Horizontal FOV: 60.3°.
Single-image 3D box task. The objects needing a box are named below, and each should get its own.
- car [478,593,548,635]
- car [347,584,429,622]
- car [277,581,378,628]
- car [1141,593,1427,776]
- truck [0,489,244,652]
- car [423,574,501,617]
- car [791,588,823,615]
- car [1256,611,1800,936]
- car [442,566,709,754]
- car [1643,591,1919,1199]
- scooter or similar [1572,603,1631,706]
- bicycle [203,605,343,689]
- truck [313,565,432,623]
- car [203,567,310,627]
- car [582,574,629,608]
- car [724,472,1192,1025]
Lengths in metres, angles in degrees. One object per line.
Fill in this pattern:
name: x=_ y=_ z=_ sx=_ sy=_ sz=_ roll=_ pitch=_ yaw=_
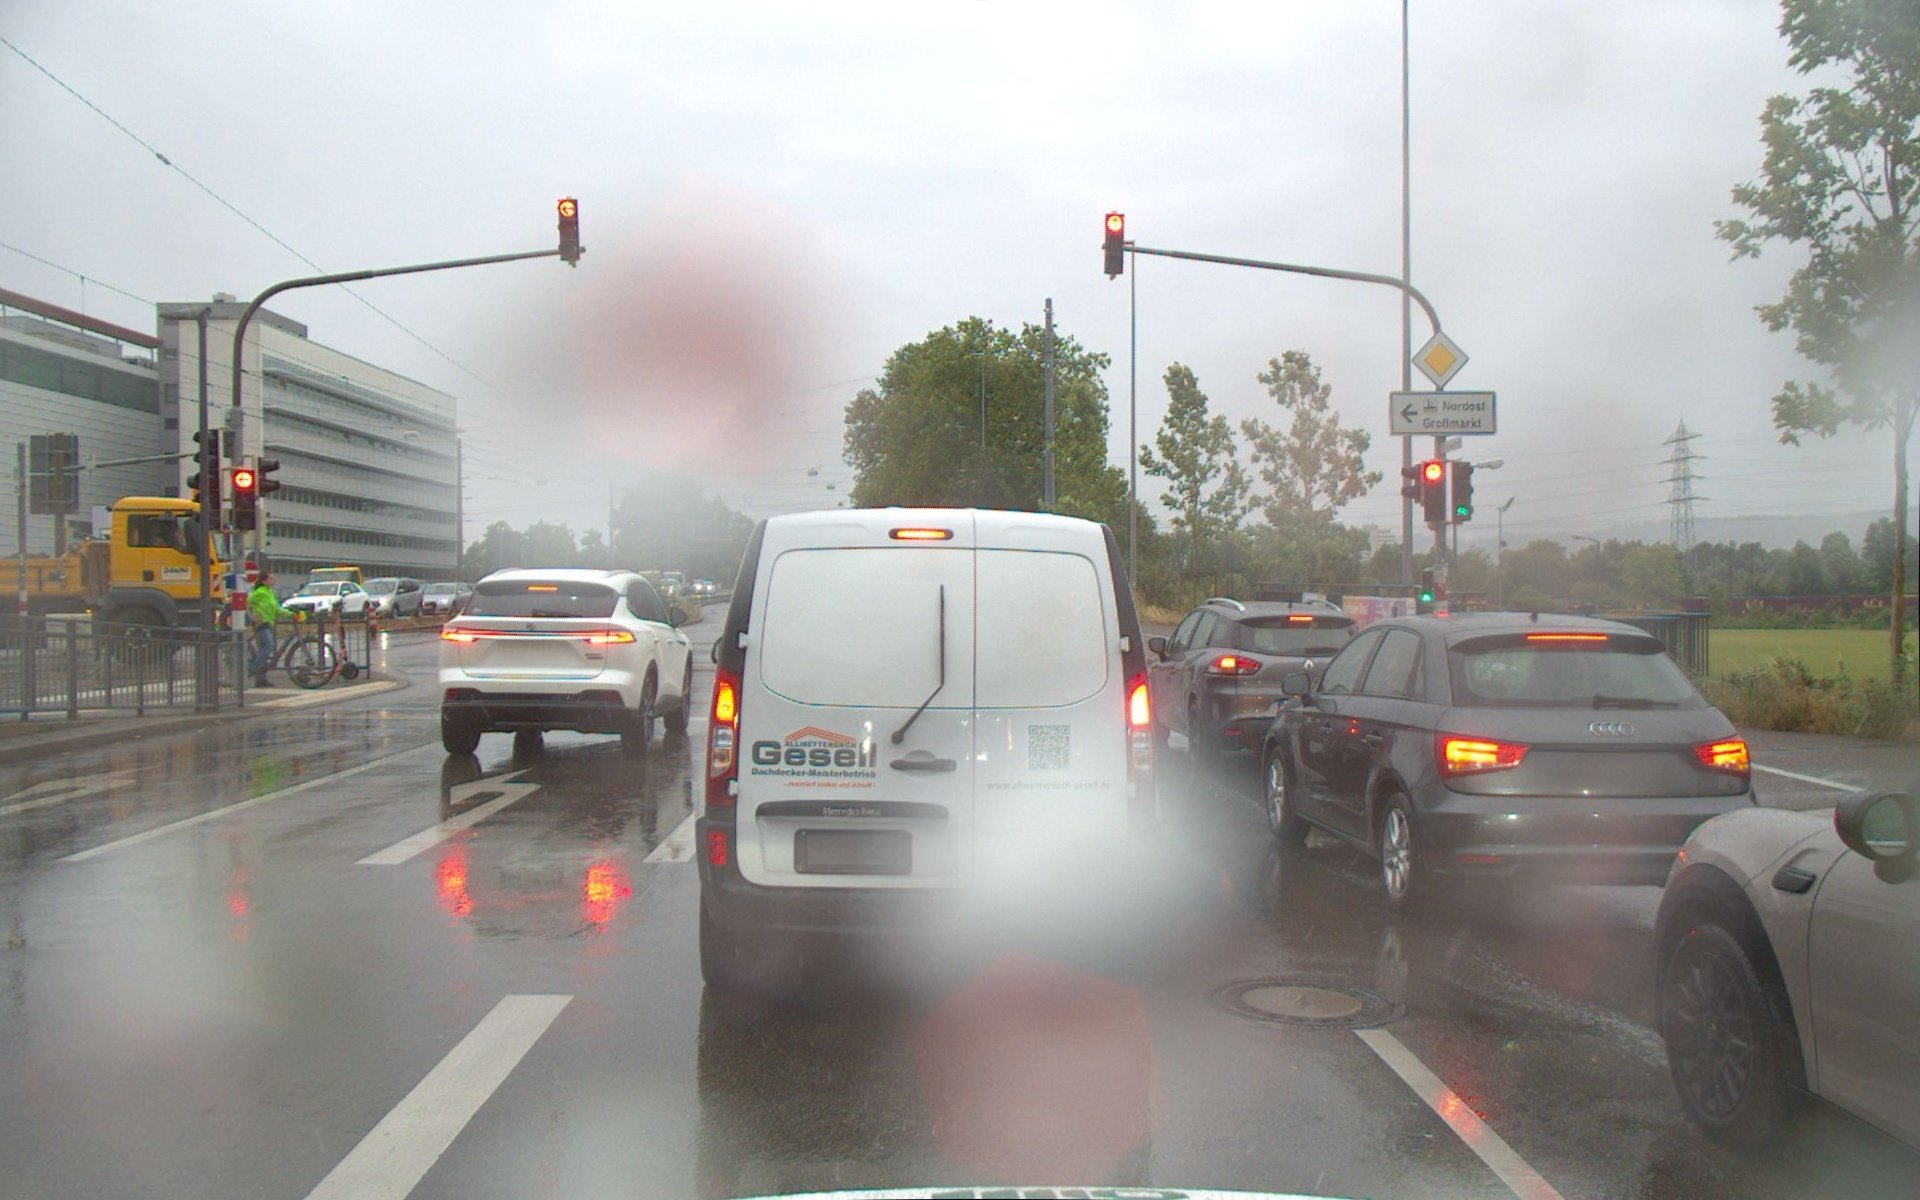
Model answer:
car: x=-20.795 y=0.656 z=77.106 sx=1.889 sy=1.859 sz=4.002 roll=1 pitch=0 yaw=4
car: x=-21.660 y=0.119 z=62.782 sx=1.554 sy=1.359 sz=3.832 roll=1 pitch=-1 yaw=4
car: x=-21.662 y=0.163 z=56.795 sx=1.662 sy=1.518 sz=3.878 roll=1 pitch=0 yaw=5
car: x=2.883 y=0.693 z=15.546 sx=1.822 sy=1.453 sz=3.806 roll=1 pitch=1 yaw=-2
truck: x=-17.193 y=-0.523 z=30.580 sx=7.014 sy=2.865 sz=2.627 roll=1 pitch=0 yaw=-19
car: x=-21.048 y=-0.164 z=70.036 sx=1.853 sy=1.729 sz=4.001 roll=1 pitch=0 yaw=3
car: x=-9.238 y=0.087 z=99.555 sx=1.585 sy=1.530 sz=3.706 roll=1 pitch=0 yaw=-10
car: x=2.786 y=0.765 z=8.956 sx=1.596 sy=1.368 sz=3.622 roll=1 pitch=0 yaw=-2
car: x=-3.569 y=0.481 z=16.103 sx=1.694 sy=1.562 sz=4.296 roll=1 pitch=1 yaw=-2
car: x=2.974 y=0.763 z=3.229 sx=1.679 sy=1.534 sz=3.622 roll=1 pitch=0 yaw=-2
scooter or similar: x=7.589 y=0.630 z=19.588 sx=0.240 sy=1.178 sz=1.186 roll=1 pitch=0 yaw=1
bicycle: x=-9.658 y=0.656 z=23.283 sx=1.716 sy=1.052 sz=0.414 roll=4 pitch=-1 yaw=-3
truck: x=-24.838 y=-0.220 z=70.304 sx=2.303 sy=2.319 sz=7.632 roll=1 pitch=0 yaw=0
car: x=-25.285 y=-0.094 z=59.598 sx=1.952 sy=2.049 sz=4.002 roll=1 pitch=0 yaw=3
car: x=-22.202 y=-0.556 z=103.729 sx=1.952 sy=2.049 sz=4.000 roll=1 pitch=0 yaw=1
car: x=-0.031 y=0.496 z=7.467 sx=1.534 sy=1.819 sz=3.999 roll=0 pitch=0 yaw=-1
